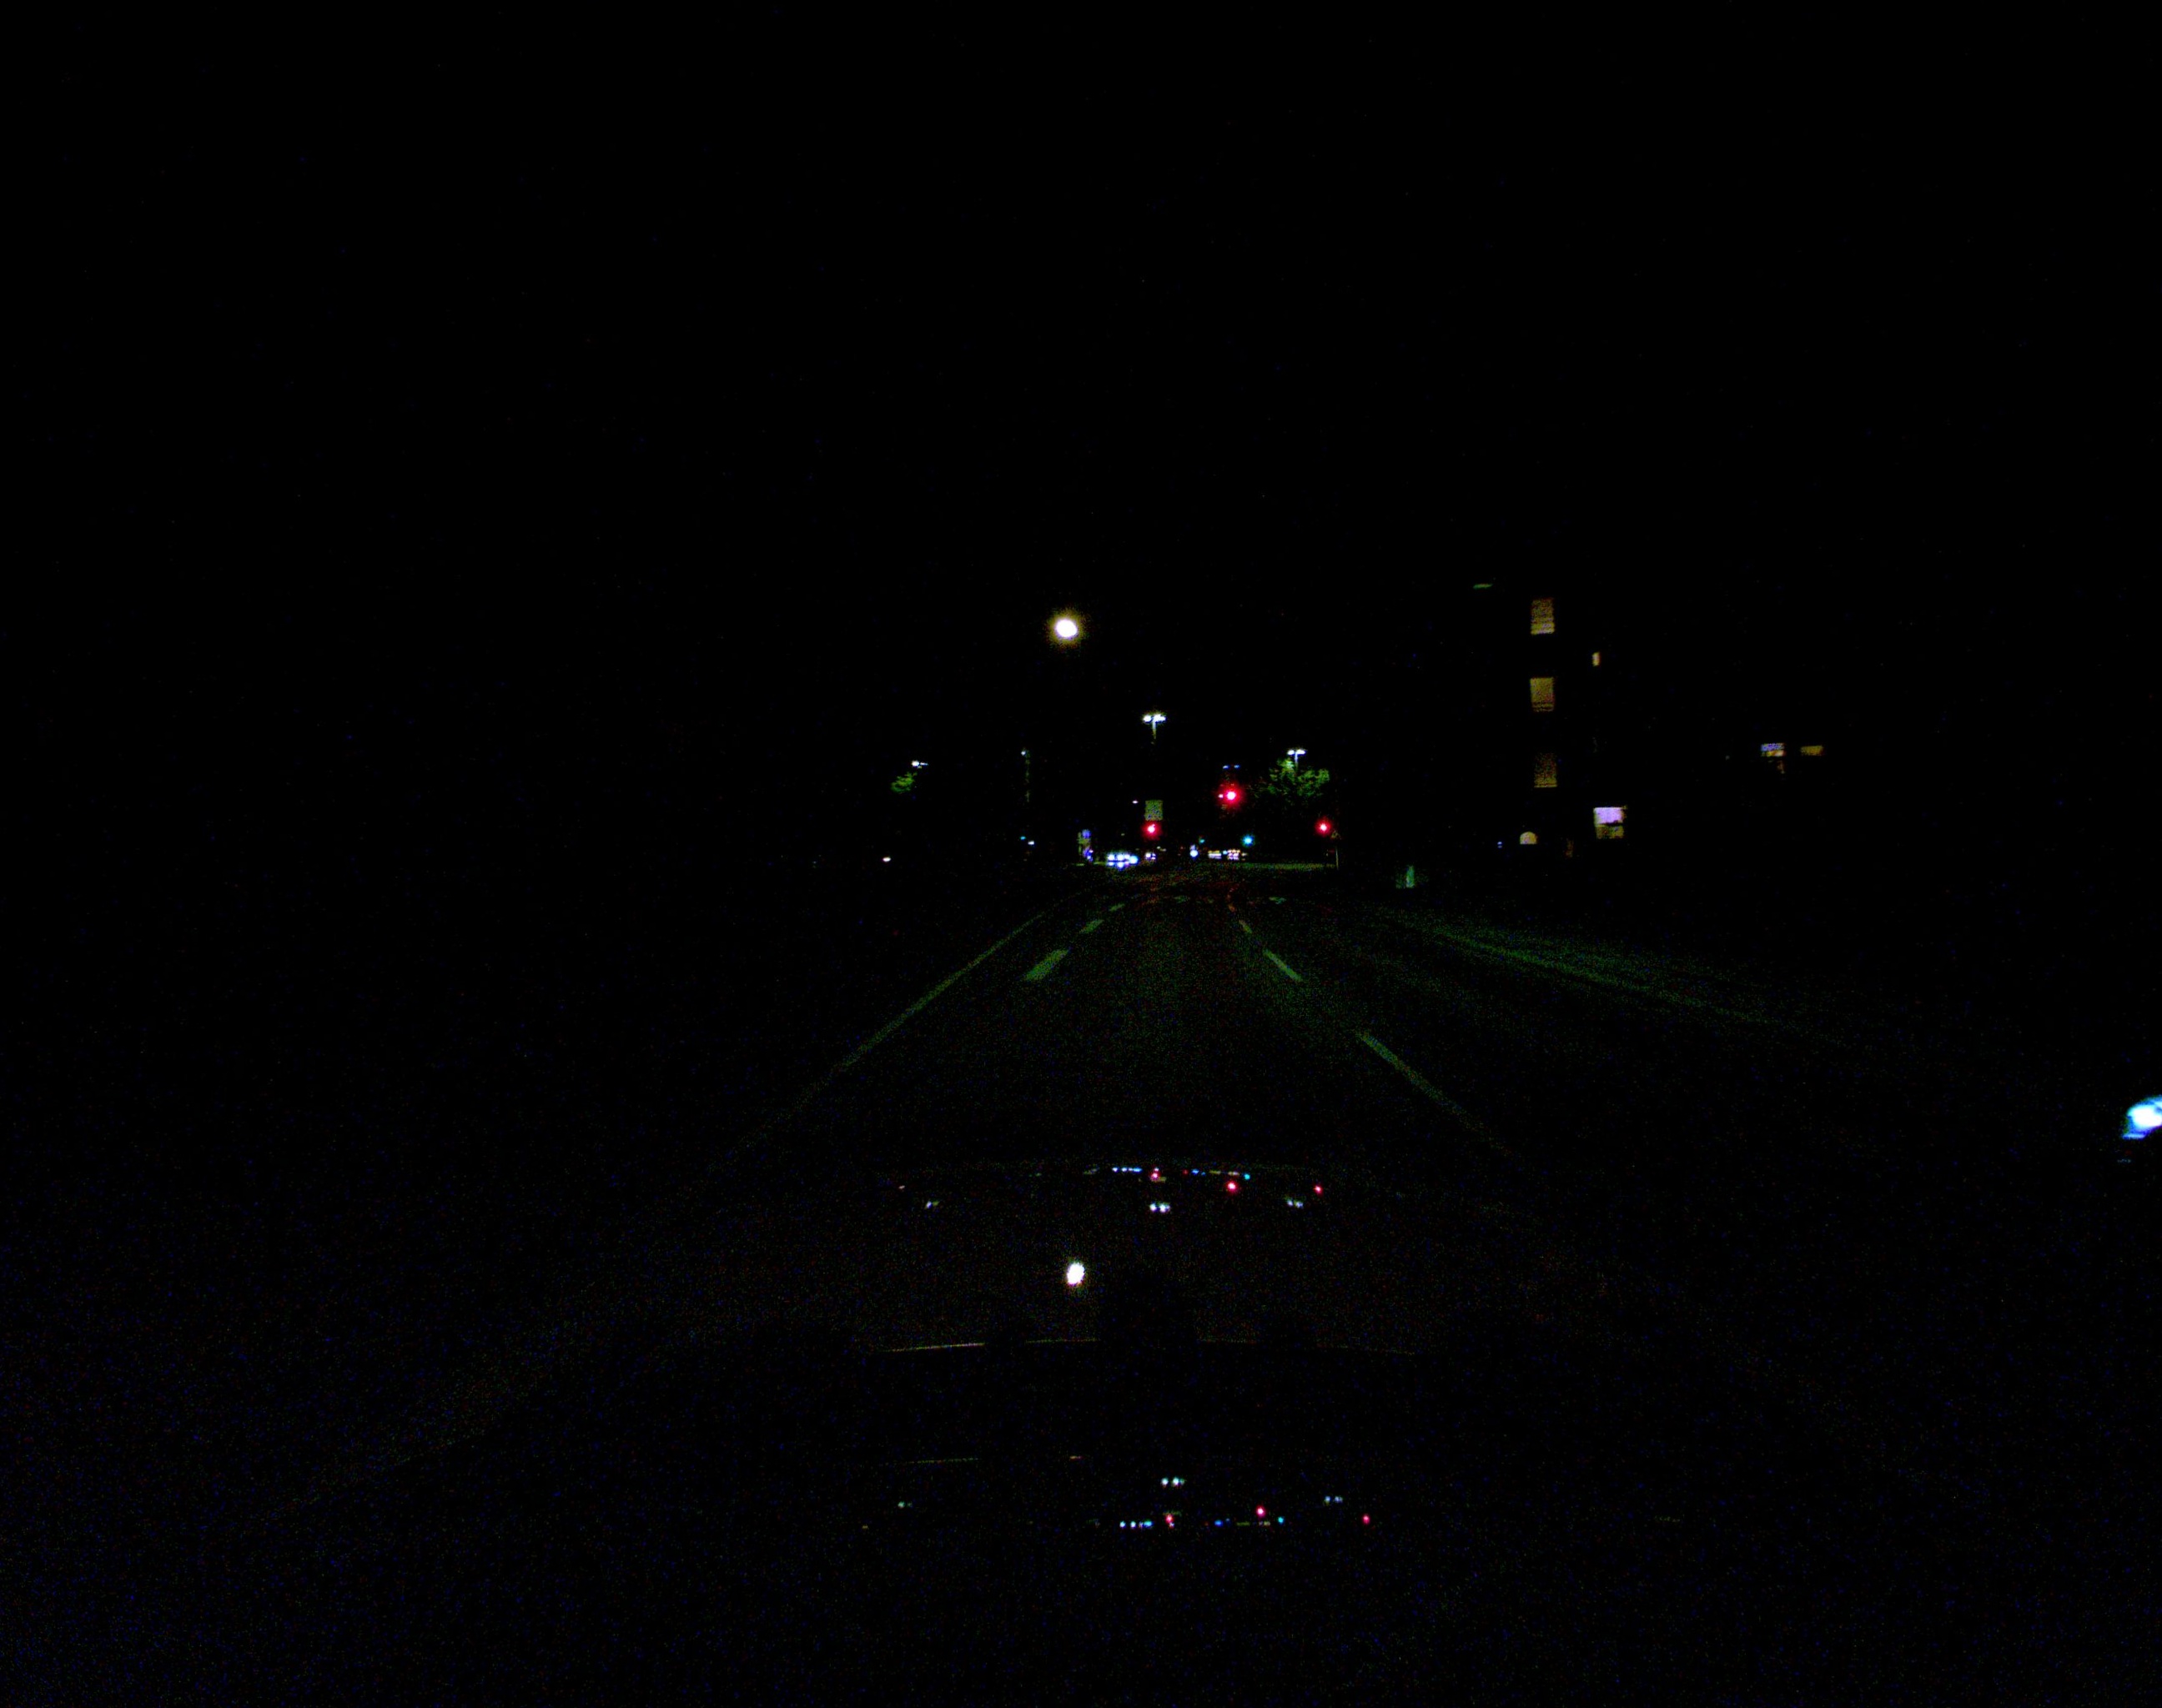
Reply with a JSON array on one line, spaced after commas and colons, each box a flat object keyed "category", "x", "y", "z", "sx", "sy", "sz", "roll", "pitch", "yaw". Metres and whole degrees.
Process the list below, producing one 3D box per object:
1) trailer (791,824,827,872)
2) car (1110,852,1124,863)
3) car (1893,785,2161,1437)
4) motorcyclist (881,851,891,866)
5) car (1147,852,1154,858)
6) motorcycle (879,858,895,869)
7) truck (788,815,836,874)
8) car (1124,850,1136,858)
[{"category": "trailer", "x": -22.575, "y": -0.474, "z": 67.516, "sx": 2.622, "sy": 3.791, "sz": 6.469, "roll": 0, "pitch": 0, "yaw": -20}, {"category": "car", "x": 5.121, "y": 0.534, "z": 114.424, "sx": 1.606, "sy": 1.515, "sz": 4.009, "roll": 0, "pitch": 0, "yaw": 8}, {"category": "car", "x": 3.459, "y": 0.628, "z": 0.564, "sx": 1.664, "sy": 1.610, "sz": 4.231, "roll": 0, "pitch": 0, "yaw": 2}, {"category": "motorcyclist", "x": -17.002, "y": 0.374, "z": 70.992, "sx": 0.651, "sy": 1.261, "sz": 0.573, "roll": 0, "pitch": -1, "yaw": -35}, {"category": "car", "x": 18.936, "y": 0.305, "z": 222.039, "sx": 1.748, "sy": 1.728, "sz": 3.555, "roll": 0, "pitch": 0, "yaw": 8}, {"category": "motorcycle", "x": -16.990, "y": 0.832, "z": 71.272, "sx": 0.582, "sy": 0.896, "sz": 2.132, "roll": -3, "pitch": 1, "yaw": -35}, {"category": "truck", "x": -19.019, "y": -0.580, "z": 57.662, "sx": 2.946, "sy": 3.796, "sz": 9.498, "roll": 0, "pitch": 0, "yaw": -18}, {"category": "car", "x": 8.038, "y": -0.041, "z": 133.989, "sx": 1.748, "sy": 1.322, "sz": 3.555, "roll": 0, "pitch": 0, "yaw": 8}]
